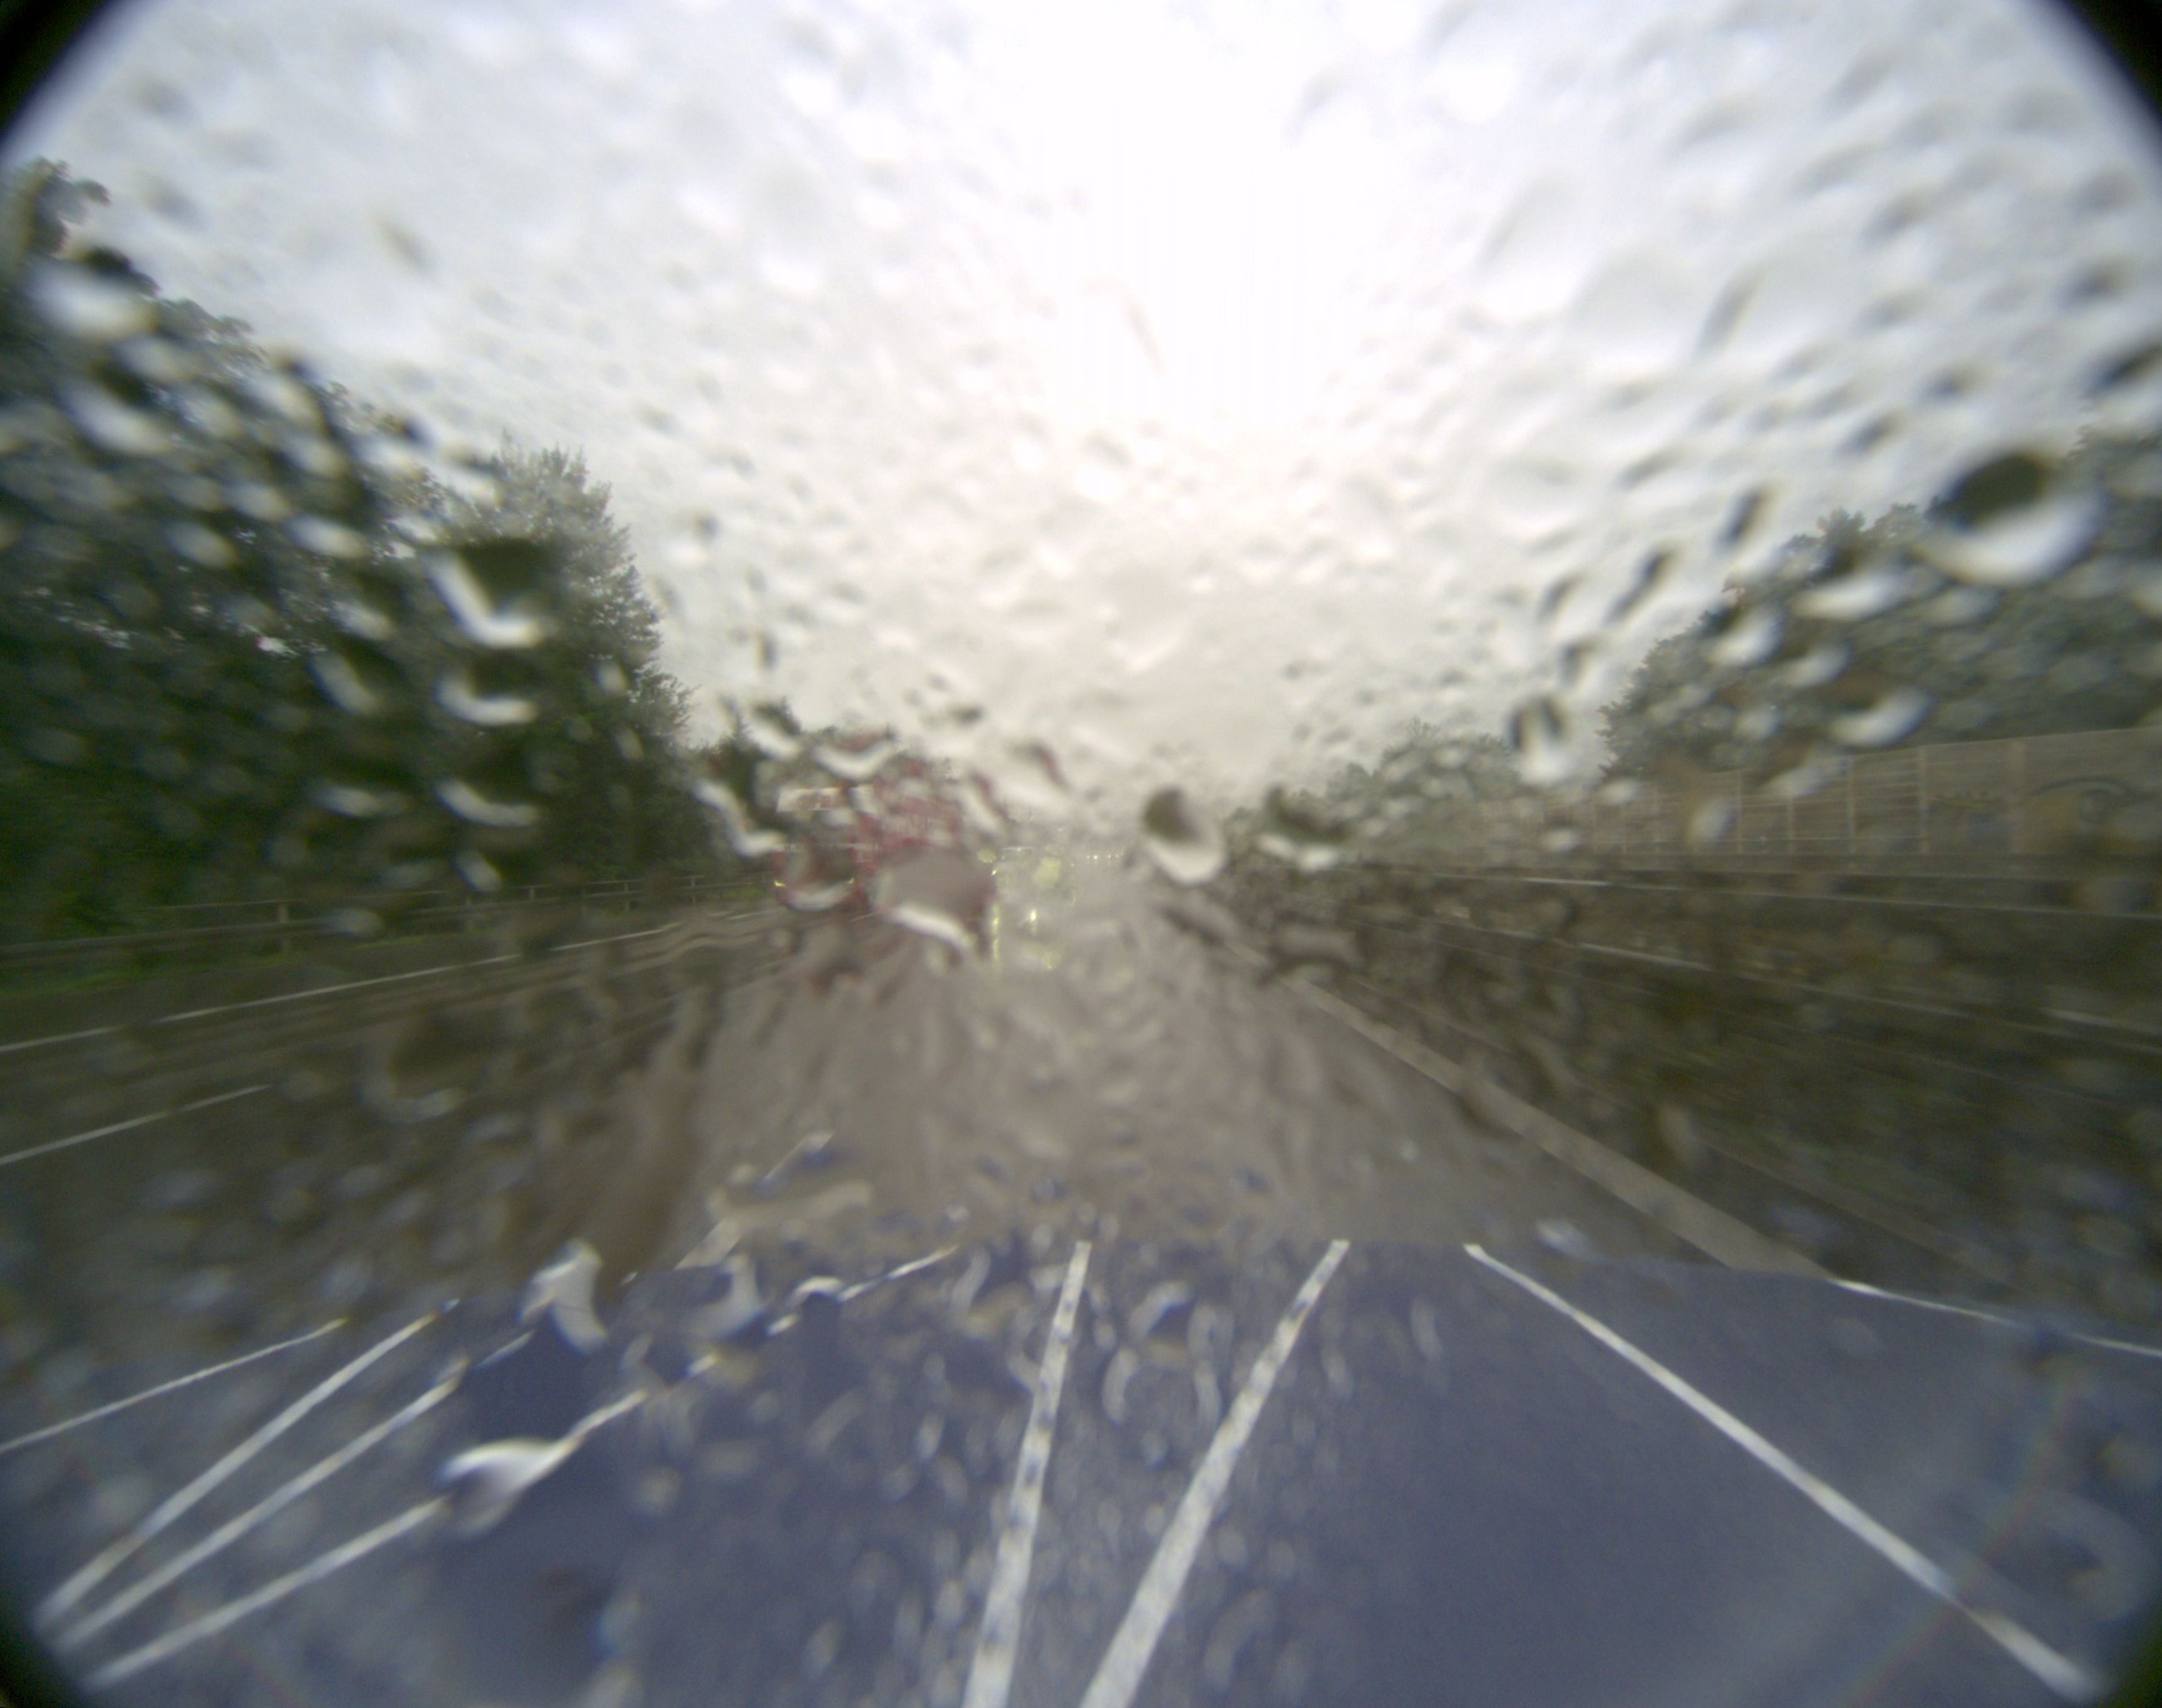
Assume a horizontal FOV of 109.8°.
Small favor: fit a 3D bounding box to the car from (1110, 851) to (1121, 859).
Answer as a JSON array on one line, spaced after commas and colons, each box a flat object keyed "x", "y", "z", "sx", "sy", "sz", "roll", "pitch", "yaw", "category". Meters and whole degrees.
[{"x": 6.747, "y": 0.221, "z": 147.168, "sx": 1.768, "sy": 1.448, "sz": 3.961, "roll": -4, "pitch": 0, "yaw": 6, "category": "car"}]

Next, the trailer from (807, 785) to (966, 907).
[{"x": -7.432, "y": -0.308, "z": 31.825, "sx": 2.626, "sy": 3.932, "sz": 13.630, "roll": -2, "pitch": 1, "yaw": 2, "category": "trailer"}]

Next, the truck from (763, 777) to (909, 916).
[{"x": -7.669, "y": -0.231, "z": 24.598, "sx": 2.626, "sy": 3.932, "sz": 5.433, "roll": -2, "pitch": 1, "yaw": 2, "category": "truck"}]

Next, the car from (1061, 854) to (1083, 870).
[{"x": -0.981, "y": 0.826, "z": 81.496, "sx": 1.768, "sy": 1.448, "sz": 3.961, "roll": -4, "pitch": 0, "yaw": 7, "category": "car"}]

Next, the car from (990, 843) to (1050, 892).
[{"x": -2.590, "y": 0.549, "z": 33.418, "sx": 1.892, "sy": 1.873, "sz": 5.010, "roll": -5, "pitch": 0, "yaw": 2, "category": "car"}]
